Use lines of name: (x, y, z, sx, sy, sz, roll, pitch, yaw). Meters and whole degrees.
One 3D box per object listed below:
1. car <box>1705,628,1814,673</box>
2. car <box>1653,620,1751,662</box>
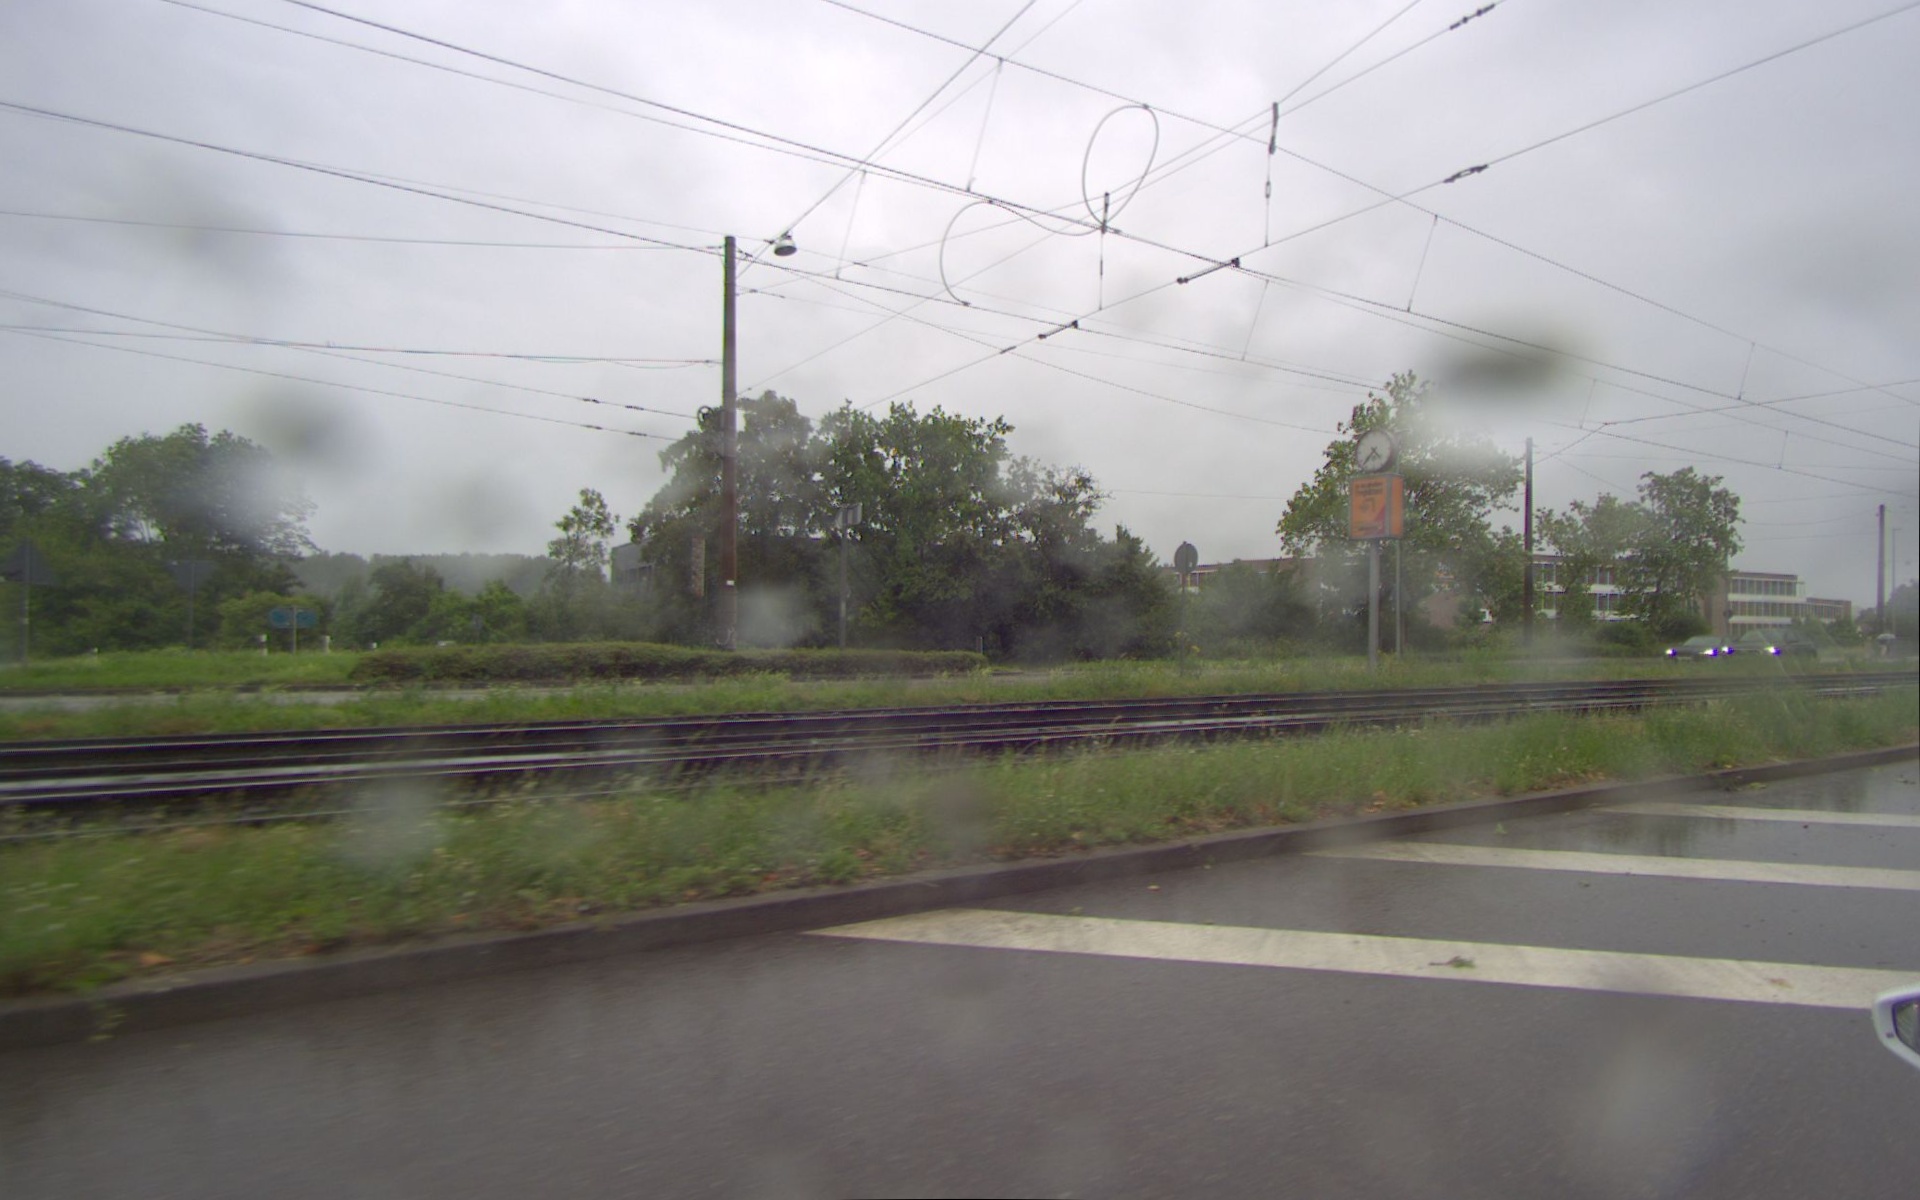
car: (31.579, 1.950, 39.655, 4.935, 1.637, 1.932, 2, -1, -33)
car: (32.193, 1.754, 43.543, 4.730, 1.709, 1.931, 2, -1, -34)
